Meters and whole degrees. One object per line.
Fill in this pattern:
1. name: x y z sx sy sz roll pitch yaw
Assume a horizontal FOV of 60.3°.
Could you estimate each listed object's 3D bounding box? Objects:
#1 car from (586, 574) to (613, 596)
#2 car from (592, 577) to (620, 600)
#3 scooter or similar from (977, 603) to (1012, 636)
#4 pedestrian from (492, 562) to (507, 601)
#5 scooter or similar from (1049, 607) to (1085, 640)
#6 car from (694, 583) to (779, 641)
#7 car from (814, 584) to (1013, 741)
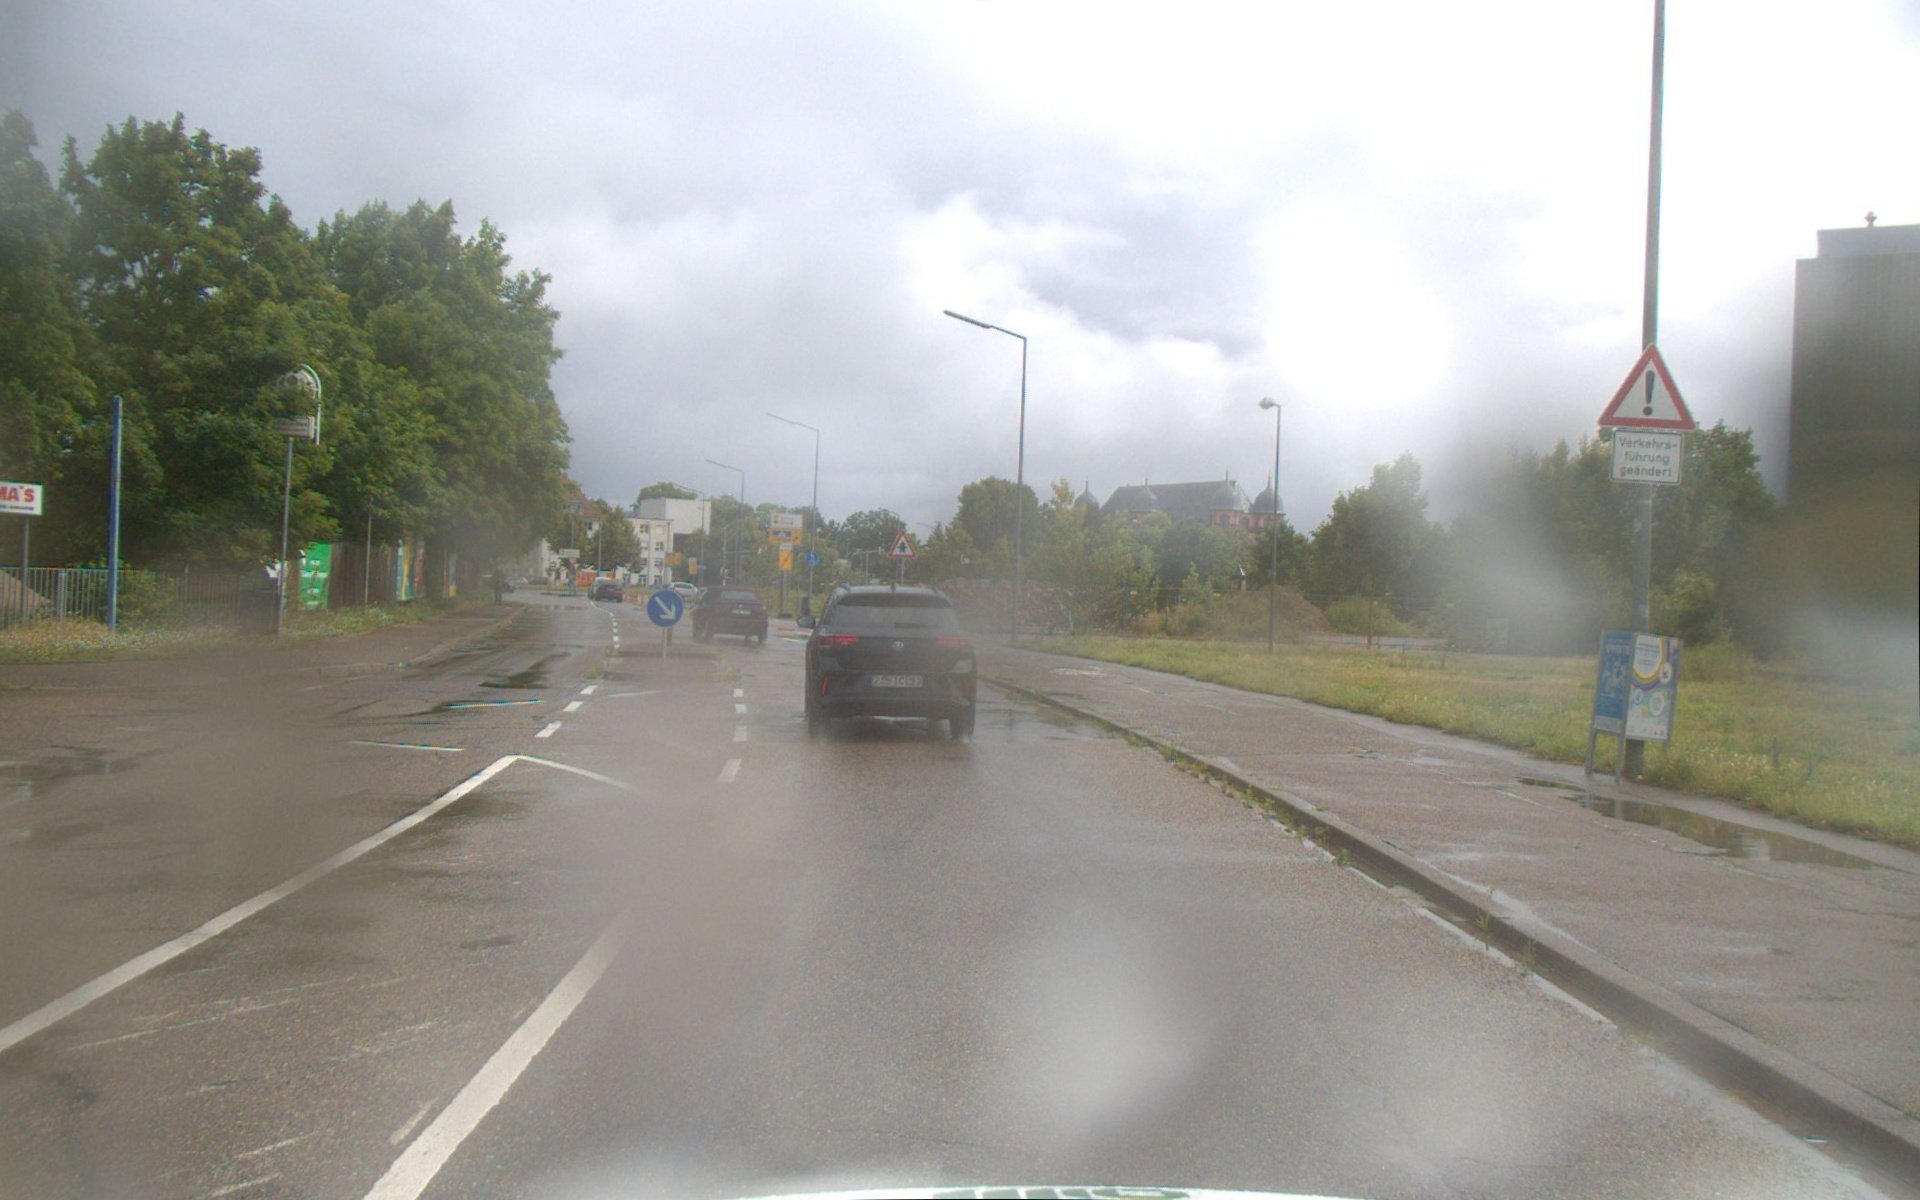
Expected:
1. car: -29.246 -1.215 134.016 1.963 1.732 4.000 2 0 -15
2. car: -26.028 -0.848 121.696 1.810 1.670 4.000 2 0 -14
3. scooter or similar: 1.398 0.784 67.072 1.256 1.207 0.502 5 1 27
4. pedestrian: -21.233 -0.859 76.252 0.515 1.730 0.564 4 1 -14
5. scooter or similar: 4.306 0.930 66.601 1.256 1.207 0.502 5 1 27
6. car: -6.029 0.328 44.286 1.810 1.467 3.985 0 -1 -14
7. car: -0.629 0.610 18.493 1.948 1.547 3.995 0 0 -6
